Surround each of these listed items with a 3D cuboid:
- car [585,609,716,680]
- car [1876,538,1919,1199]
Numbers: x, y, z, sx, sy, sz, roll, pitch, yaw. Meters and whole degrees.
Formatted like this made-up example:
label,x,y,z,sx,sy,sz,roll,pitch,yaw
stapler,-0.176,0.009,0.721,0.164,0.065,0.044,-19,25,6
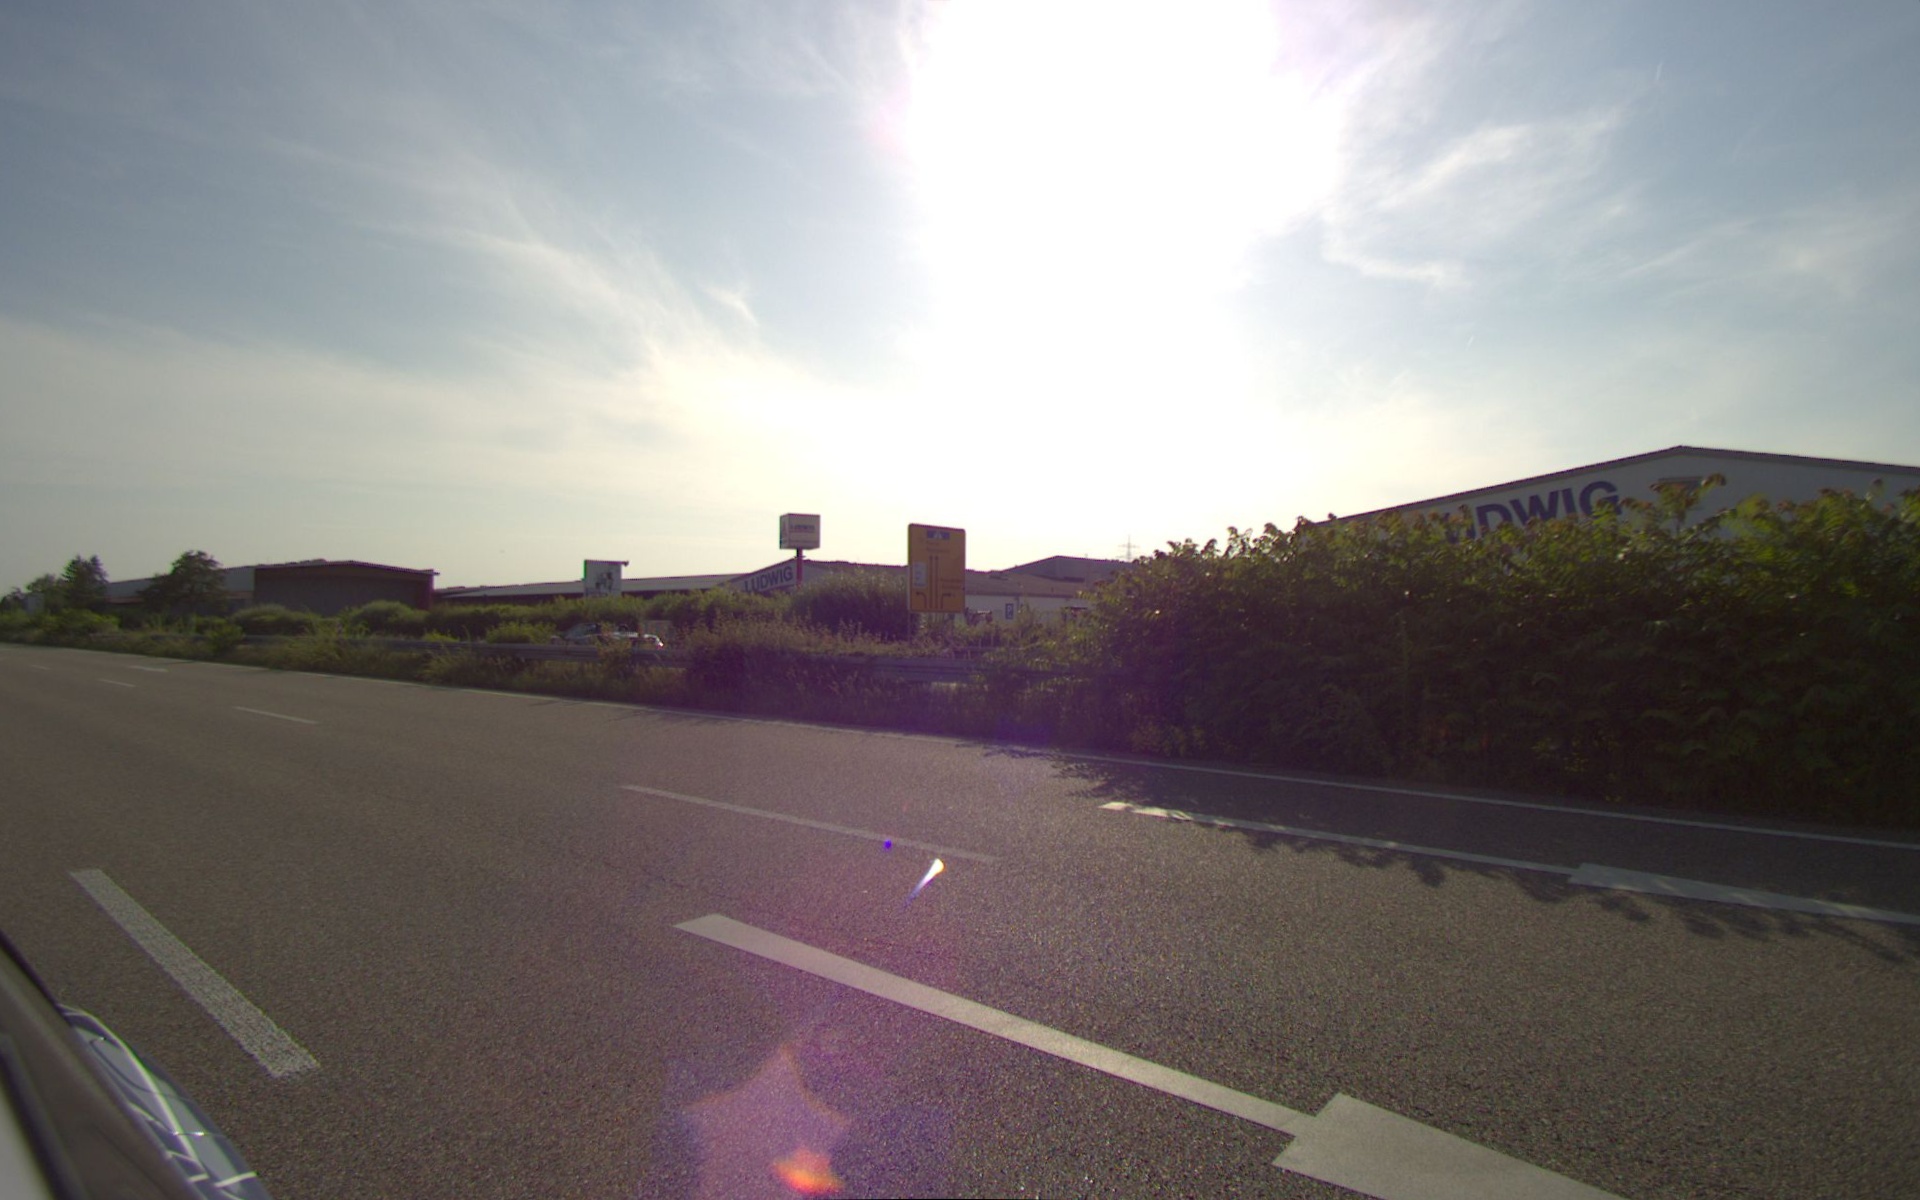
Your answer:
label,x,y,z,sx,sy,sz,roll,pitch,yaw
car,-7.787,1.070,25.356,3.458,1.656,1.579,-1,-1,41
car,3.662,0.626,0.256,5.020,1.482,1.556,-1,-1,42
